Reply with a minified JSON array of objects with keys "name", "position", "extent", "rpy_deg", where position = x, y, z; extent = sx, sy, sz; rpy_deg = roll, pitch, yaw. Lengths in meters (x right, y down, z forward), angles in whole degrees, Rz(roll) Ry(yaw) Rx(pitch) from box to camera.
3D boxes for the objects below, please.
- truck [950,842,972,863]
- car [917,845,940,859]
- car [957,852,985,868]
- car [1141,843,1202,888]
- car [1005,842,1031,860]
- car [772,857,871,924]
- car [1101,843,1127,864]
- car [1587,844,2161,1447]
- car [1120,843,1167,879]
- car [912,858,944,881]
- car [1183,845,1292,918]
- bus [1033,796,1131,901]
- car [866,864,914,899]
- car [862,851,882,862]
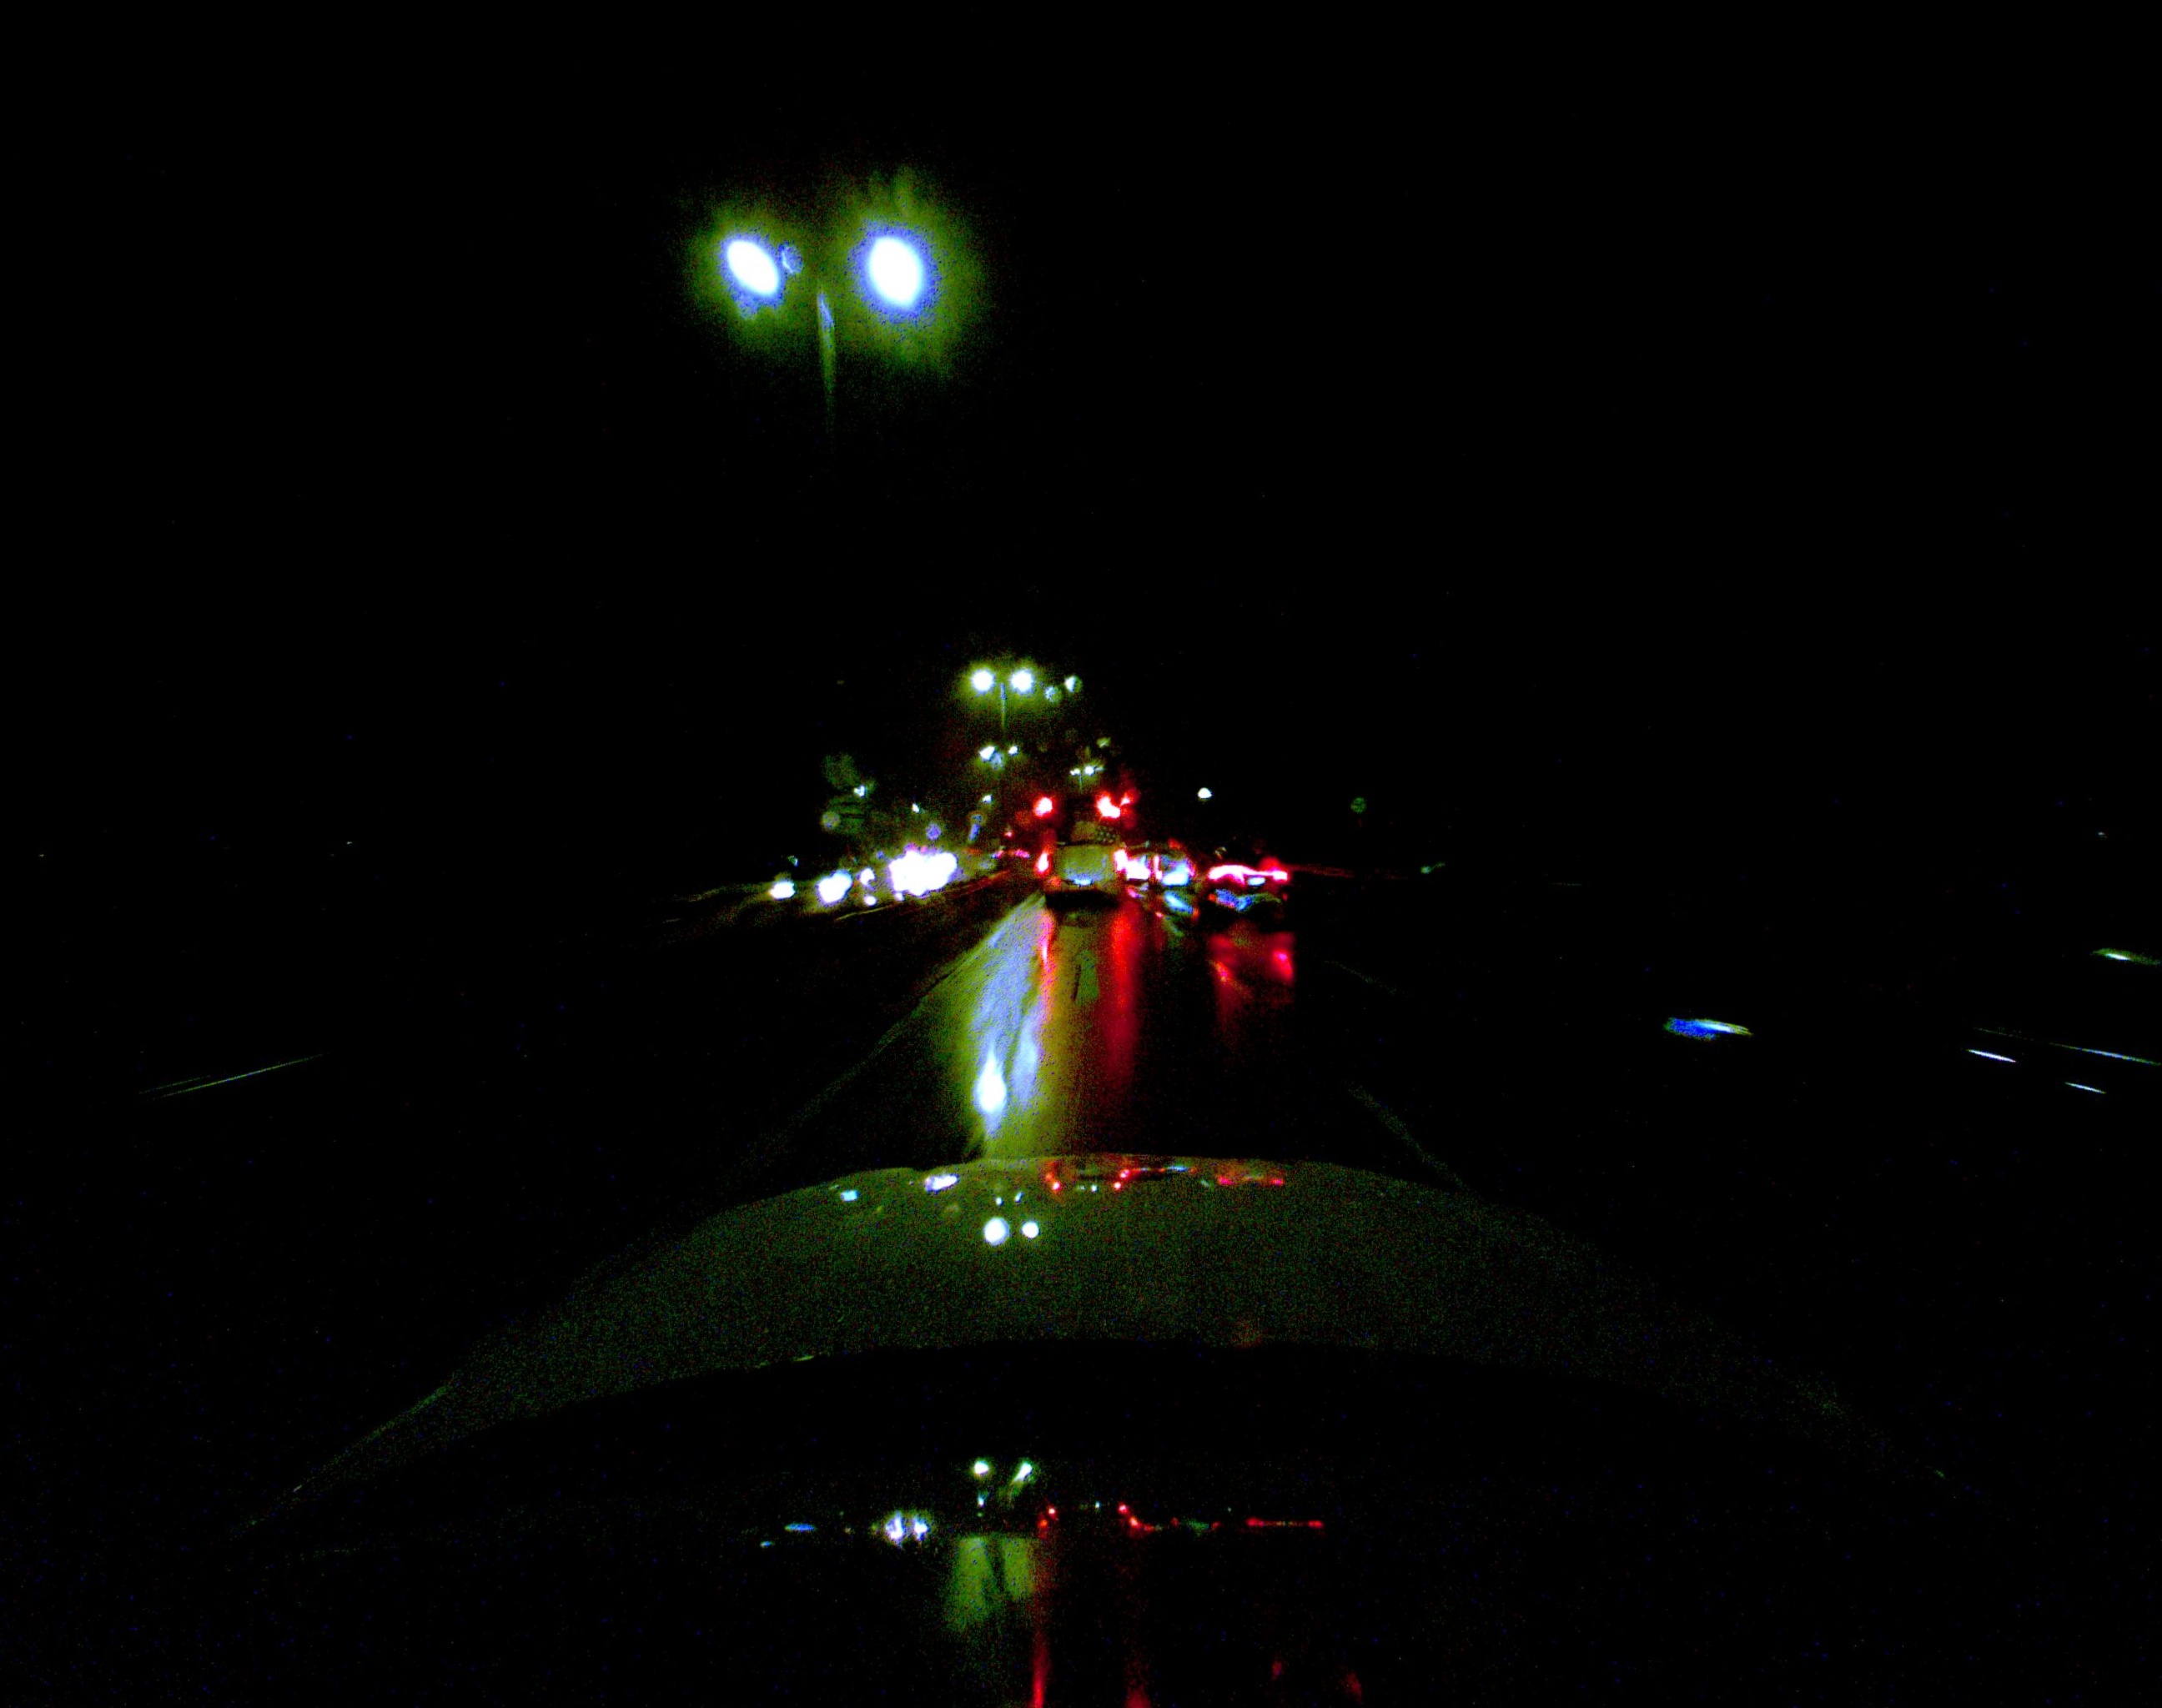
[{"name":"truck","position":[-15.323,-0.209,103.970],"extent":[1.862,2.392,4.749],"rpy_deg":[-3,3,-19]},{"name":"car","position":[-22.993,-0.311,122.462],"extent":[2.008,2.014,3.957],"rpy_deg":[0,-1,-34]},{"name":"car","position":[-14.744,0.758,108.968],"extent":[2.225,2.013,3.961],"rpy_deg":[-2,0,-30]},{"name":"car","position":[3.501,0.423,32.143],"extent":[1.815,1.590,3.773],"rpy_deg":[-2,0,-3]},{"name":"car","position":[-7.140,-0.332,92.063],"extent":[1.999,2.014,3.976],"rpy_deg":[0,0,-18]},{"name":"car","position":[-7.235,0.946,23.099],"extent":[1.617,1.651,3.995],"rpy_deg":[-3,0,-3]},{"name":"car","position":[2.554,-0.063,63.415],"extent":[1.774,1.543,3.873],"rpy_deg":[-1,0,-1]},{"name":"car","position":[3.470,0.698,1.789],"extent":[1.726,1.449,4.723],"rpy_deg":[-1,0,-1]},{"name":"car","position":[3.017,0.317,40.150],"extent":[1.815,1.590,3.773],"rpy_deg":[-2,0,-3]},{"name":"car","position":[-11.732,1.167,62.725],"extent":[1.805,1.568,3.996],"rpy_deg":[-6,1,-3]},{"name":"car","position":[3.655,0.592,19.627],"extent":[1.735,1.564,3.773],"rpy_deg":[-1,0,-3]},{"name":"bus","position":[-0.055,-0.180,28.079],"extent":[2.807,3.024,8.682],"rpy_deg":[-1,0,-1]},{"name":"car","position":[-9.732,1.357,41.710],"extent":[1.564,1.542,4.156],"rpy_deg":[-5,0,-3]},{"name":"car","position":[-34.951,0.426,136.181],"extent":[2.008,1.686,3.957],"rpy_deg":[1,1,-35]}]
